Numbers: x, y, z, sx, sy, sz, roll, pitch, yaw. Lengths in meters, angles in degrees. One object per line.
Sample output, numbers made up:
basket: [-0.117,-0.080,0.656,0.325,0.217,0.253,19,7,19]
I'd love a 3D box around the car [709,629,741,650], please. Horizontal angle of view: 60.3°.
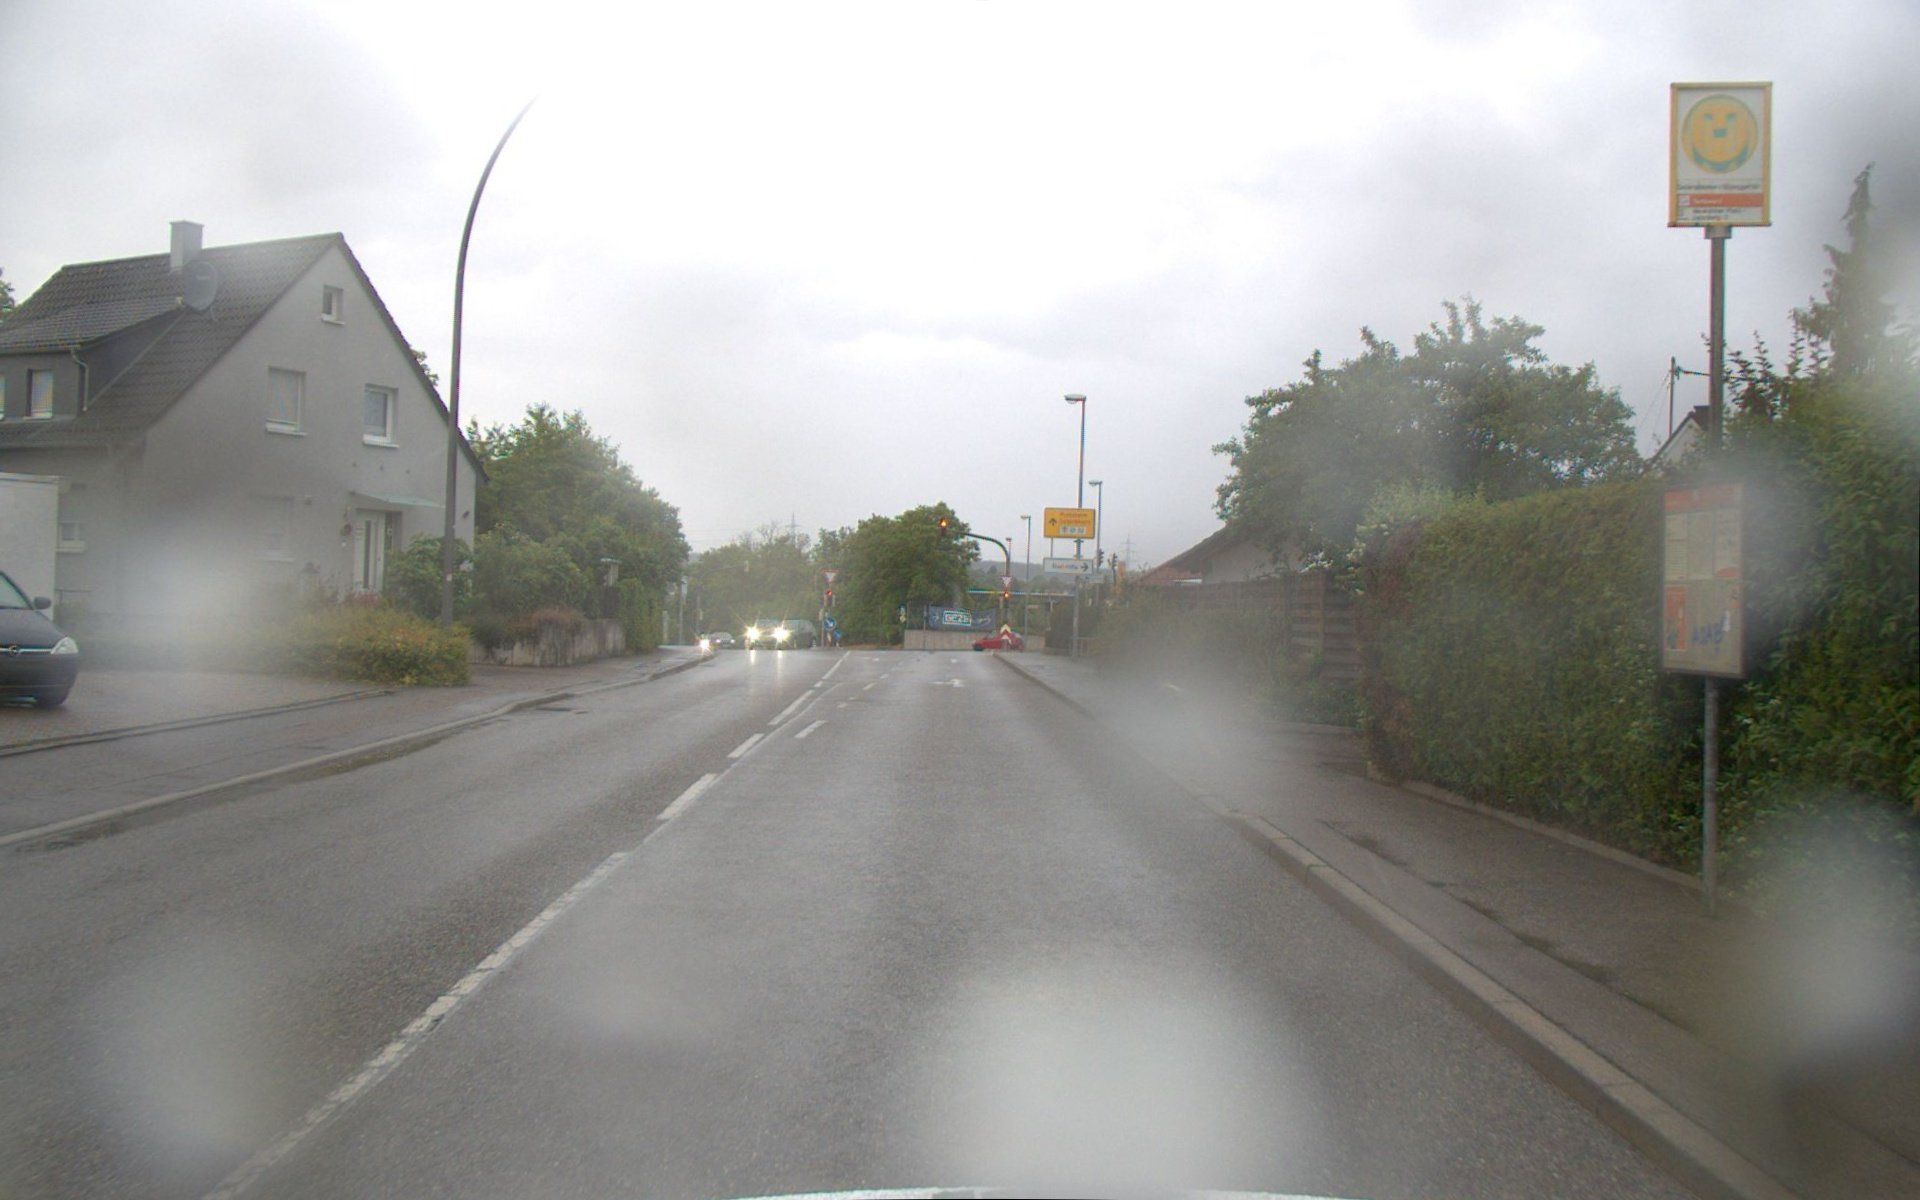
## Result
car: [-18.280,3.055,128.732,1.961,1.489,3.983,0,0,-16]

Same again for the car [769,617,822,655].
car: [-9.200,1.987,92.789,1.734,2.049,4.003,2,0,13]

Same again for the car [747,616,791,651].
car: [-9.039,1.559,78.430,1.769,1.550,3.998,2,0,-3]

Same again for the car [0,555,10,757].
car: [-9.181,0.338,10.773,1.867,1.502,4.869,3,1,32]

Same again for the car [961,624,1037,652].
car: [2.680,2.602,112.962,4.645,1.720,2.305,-3,-1,22]

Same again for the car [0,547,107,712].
car: [-10.542,0.192,16.977,3.701,1.534,1.694,5,0,37]
